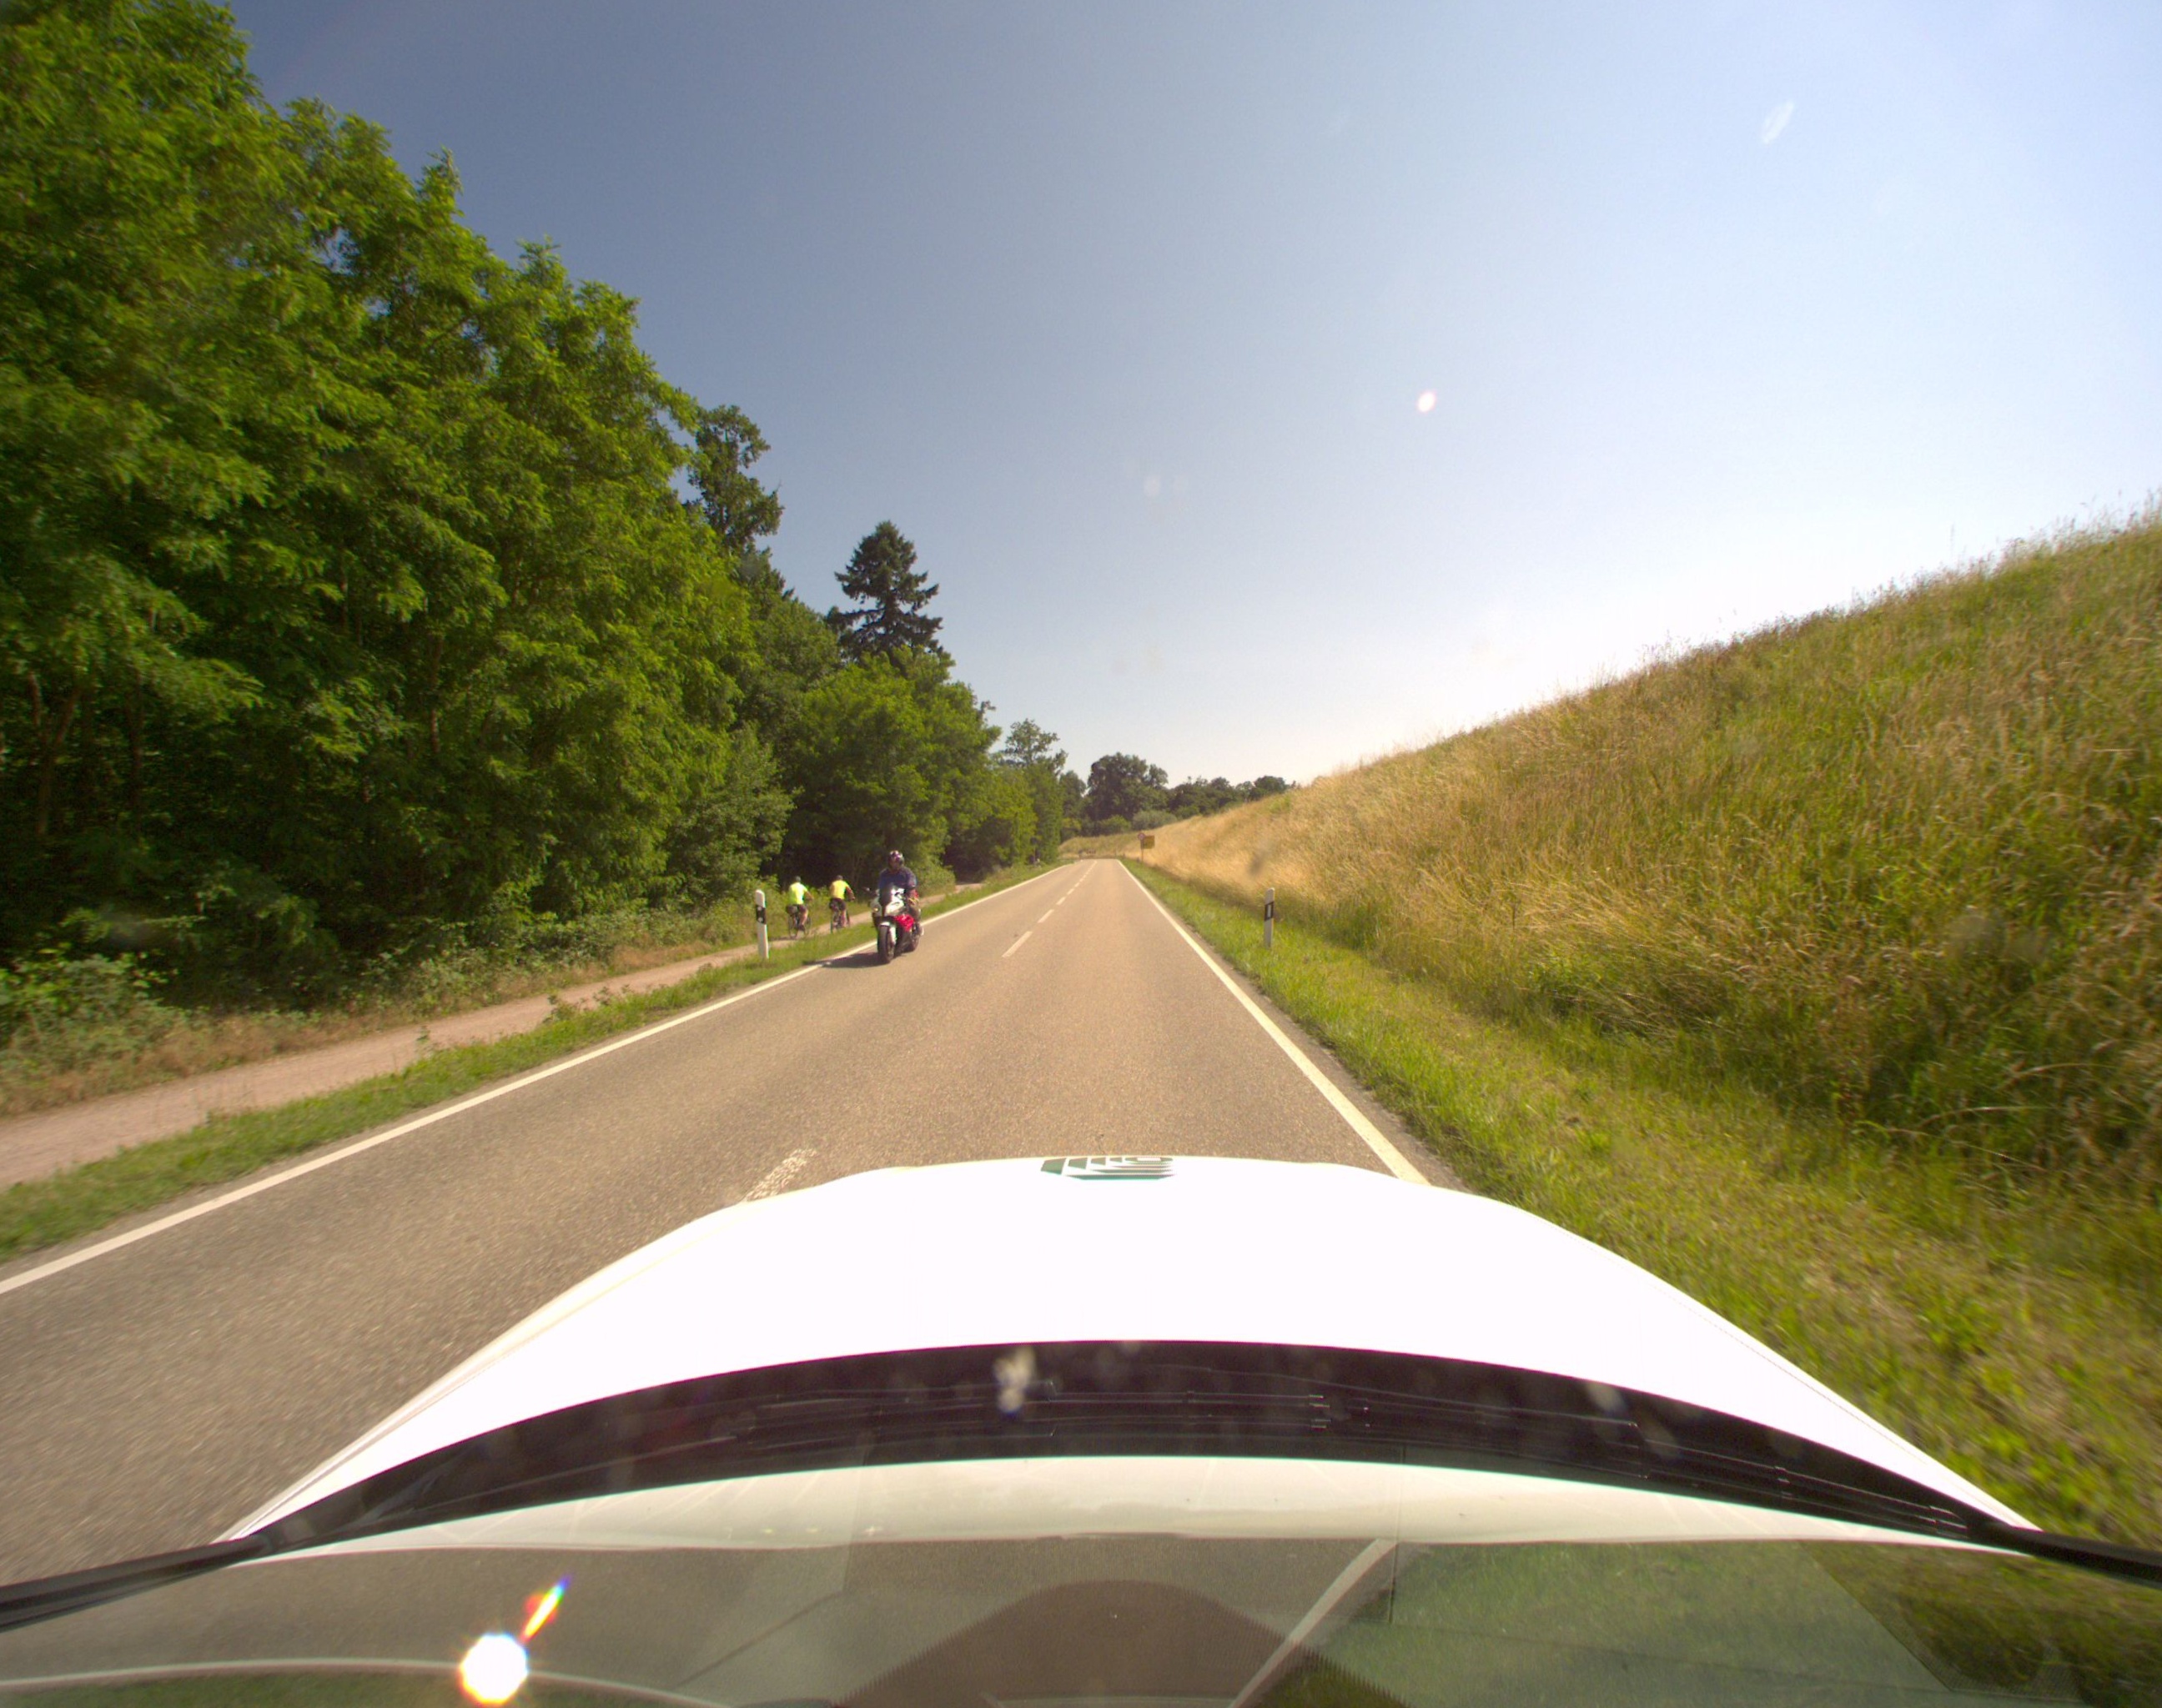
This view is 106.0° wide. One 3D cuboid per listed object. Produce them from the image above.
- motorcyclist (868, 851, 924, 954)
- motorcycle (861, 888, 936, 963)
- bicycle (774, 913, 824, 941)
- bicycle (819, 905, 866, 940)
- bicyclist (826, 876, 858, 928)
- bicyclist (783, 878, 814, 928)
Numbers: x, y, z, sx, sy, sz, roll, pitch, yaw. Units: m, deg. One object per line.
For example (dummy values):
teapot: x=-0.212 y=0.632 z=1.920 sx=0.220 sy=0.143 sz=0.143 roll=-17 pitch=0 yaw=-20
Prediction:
motorcyclist: x=-2.810 y=0.717 z=12.445 sx=0.657 sy=1.528 sz=0.814 roll=0 pitch=0 yaw=0
motorcycle: x=-2.775 y=1.063 z=12.583 sx=0.636 sy=0.985 sz=2.007 roll=-1 pitch=0 yaw=1
bicycle: x=-8.061 y=2.078 z=23.376 sx=0.617 sy=0.681 sz=2.137 roll=0 pitch=-2 yaw=2
bicycle: x=-6.829 y=1.953 z=23.427 sx=0.637 sy=0.788 sz=2.137 roll=-4 pitch=0 yaw=2
bicyclist: x=-6.840 y=1.364 z=23.335 sx=0.603 sy=1.415 sz=0.703 roll=-4 pitch=-1 yaw=1
bicyclist: x=-8.062 y=1.393 z=23.295 sx=0.603 sy=1.416 sz=0.703 roll=0 pitch=-2 yaw=1
